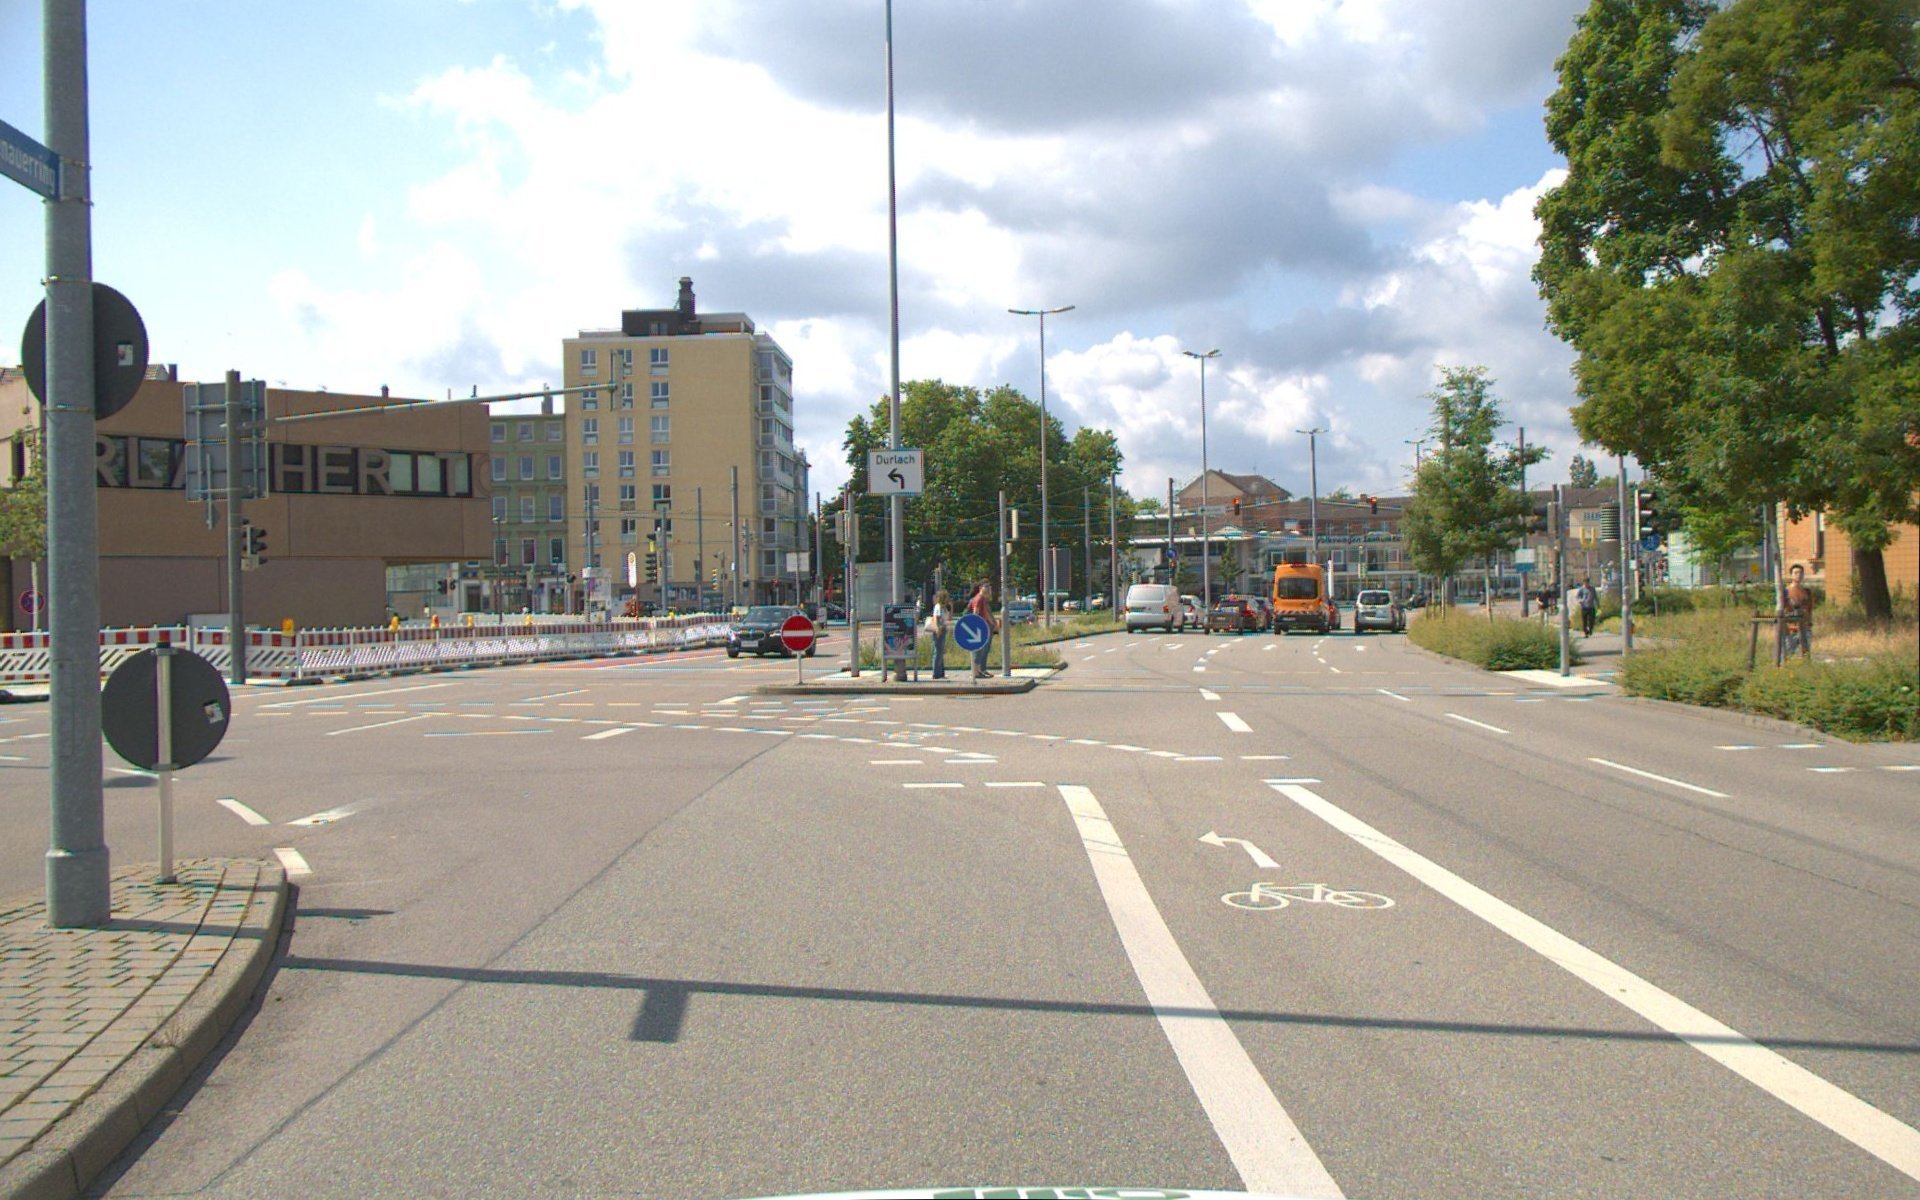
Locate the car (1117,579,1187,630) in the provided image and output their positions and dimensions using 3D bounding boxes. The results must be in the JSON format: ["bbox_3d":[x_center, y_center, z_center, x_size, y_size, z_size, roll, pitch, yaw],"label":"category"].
[{"bbox_3d":[8.020,0.168,68.776,1.963,2.001,4.641,-2,0,18],"label":"car"}]

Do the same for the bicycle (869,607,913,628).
[{"bbox_3d":[-3.853,0.973,92.485,2.328,1.085,0.859,-1,0,14],"label":"bicycle"}]

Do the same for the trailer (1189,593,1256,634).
[{"bbox_3d":[10.591,0.522,66.537,1.952,1.503,4.002,-2,0,19],"label":"trailer"}]

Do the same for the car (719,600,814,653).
[{"bbox_3d":[-5.505,0.730,47.480,1.754,1.412,4.230,-1,0,7],"label":"car"}]

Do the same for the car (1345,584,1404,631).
[{"bbox_3d":[17.188,0.281,68.468,1.952,1.826,4.001,-2,0,19],"label":"car"}]

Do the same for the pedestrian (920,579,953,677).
[{"bbox_3d":[-0.424,0.501,30.323,0.514,1.764,0.624,-1,0,3],"label":"pedestrian"}]

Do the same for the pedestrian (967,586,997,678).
[{"bbox_3d":[0.426,0.603,31.510,0.514,1.713,0.624,-1,0,3],"label":"pedestrian"}]

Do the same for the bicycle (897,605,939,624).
[{"bbox_3d":[-2.465,0.864,97.181,2.328,1.085,0.843,-1,0,14],"label":"bicycle"}]

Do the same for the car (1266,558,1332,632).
[{"bbox_3d":[13.821,-0.218,67.223,2.085,2.829,4.641,-2,0,18],"label":"car"}]

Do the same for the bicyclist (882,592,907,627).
[{"bbox_3d":[-3.665,0.542,92.447,1.193,1.943,0.859,-1,0,14],"label":"bicyclist"}]

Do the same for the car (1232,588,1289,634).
[{"bbox_3d":[13.840,0.468,76.043,1.949,1.972,4.641,-2,0,18],"label":"car"}]

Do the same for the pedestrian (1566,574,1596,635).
[{"bbox_3d":[18.933,0.143,50.433,0.771,1.815,0.667,-1,0,15],"label":"pedestrian"}]

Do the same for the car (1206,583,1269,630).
[{"bbox_3d":[11.728,0.243,69.795,1.952,1.858,4.002,-2,0,19],"label":"car"}]

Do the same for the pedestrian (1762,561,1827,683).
[{"bbox_3d":[12.299,0.320,24.384,0.646,1.764,0.578,-1,0,1],"label":"pedestrian"}]

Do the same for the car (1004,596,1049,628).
[{"bbox_3d":[3.313,0.555,81.605,1.626,1.506,4.065,1,0,11],"label":"car"}]

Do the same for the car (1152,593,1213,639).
[{"bbox_3d":[10.314,0.705,76.402,1.949,1.972,4.641,-2,0,18],"label":"car"}]

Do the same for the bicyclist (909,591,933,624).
[{"bbox_3d":[-2.302,0.429,97.144,1.193,1.943,0.835,-1,0,14],"label":"bicyclist"}]

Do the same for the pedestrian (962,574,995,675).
[{"bbox_3d":[0.332,0.434,29.296,0.514,1.764,0.624,-1,0,3],"label":"pedestrian"}]

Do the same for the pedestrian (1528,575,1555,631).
[{"bbox_3d":[19.295,0.090,54.876,0.771,1.815,0.667,-1,0,17],"label":"pedestrian"}]

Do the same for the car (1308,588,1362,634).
[{"bbox_3d":[17.110,0.459,75.299,1.949,1.972,4.641,-2,0,18],"label":"car"}]
